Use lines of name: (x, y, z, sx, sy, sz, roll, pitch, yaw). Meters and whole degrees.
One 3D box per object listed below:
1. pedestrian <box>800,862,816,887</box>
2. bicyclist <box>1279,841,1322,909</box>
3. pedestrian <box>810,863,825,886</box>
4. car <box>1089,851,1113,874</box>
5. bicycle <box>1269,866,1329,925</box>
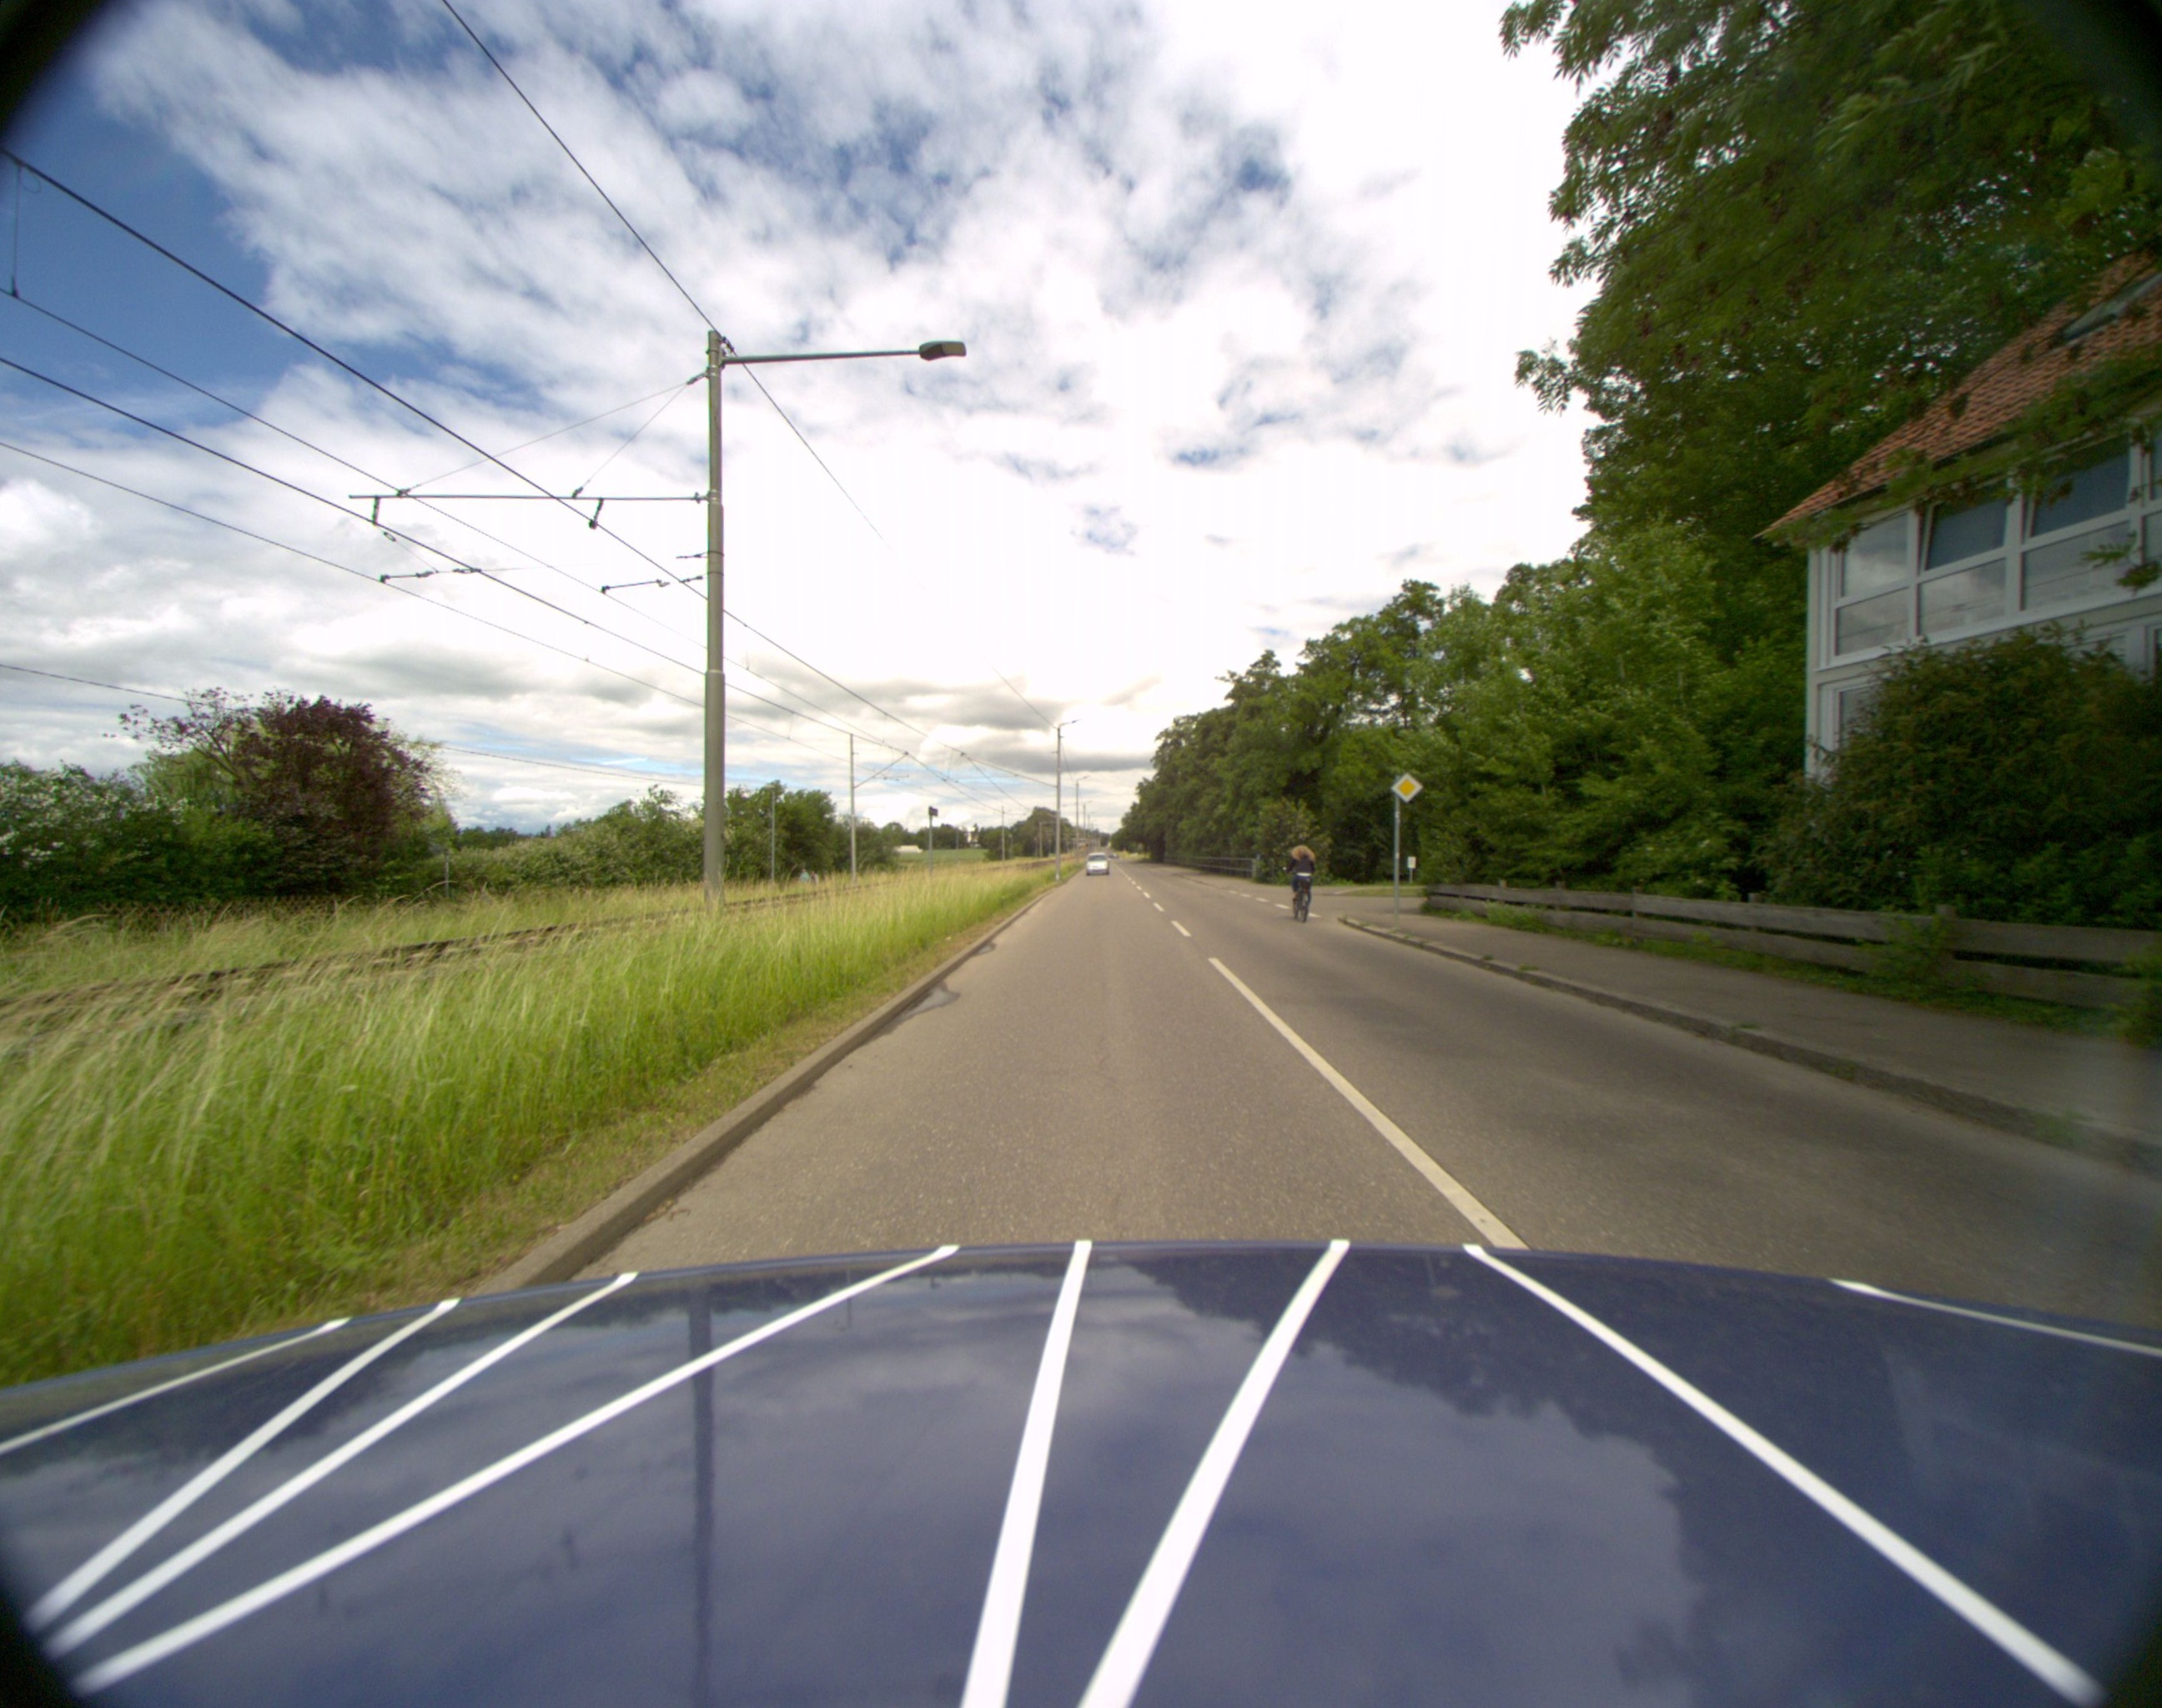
pedestrian: (-17.483, 1.311, 48.683, 0.617, 1.613, 0.584, -2, 1, 17)
bicyclist: (5.084, 0.485, 17.646, 0.780, 1.540, 0.870, 0, 1, 2)
pedestrian: (-16.805, 1.311, 48.448, 0.598, 1.422, 0.667, -2, 1, 18)
car: (1.445, 0.566, 55.060, 1.643, 1.510, 3.869, -2, 1, 2)
bicycle: (5.069, 0.933, 17.824, 0.757, 1.219, 2.308, 1, 0, 2)
